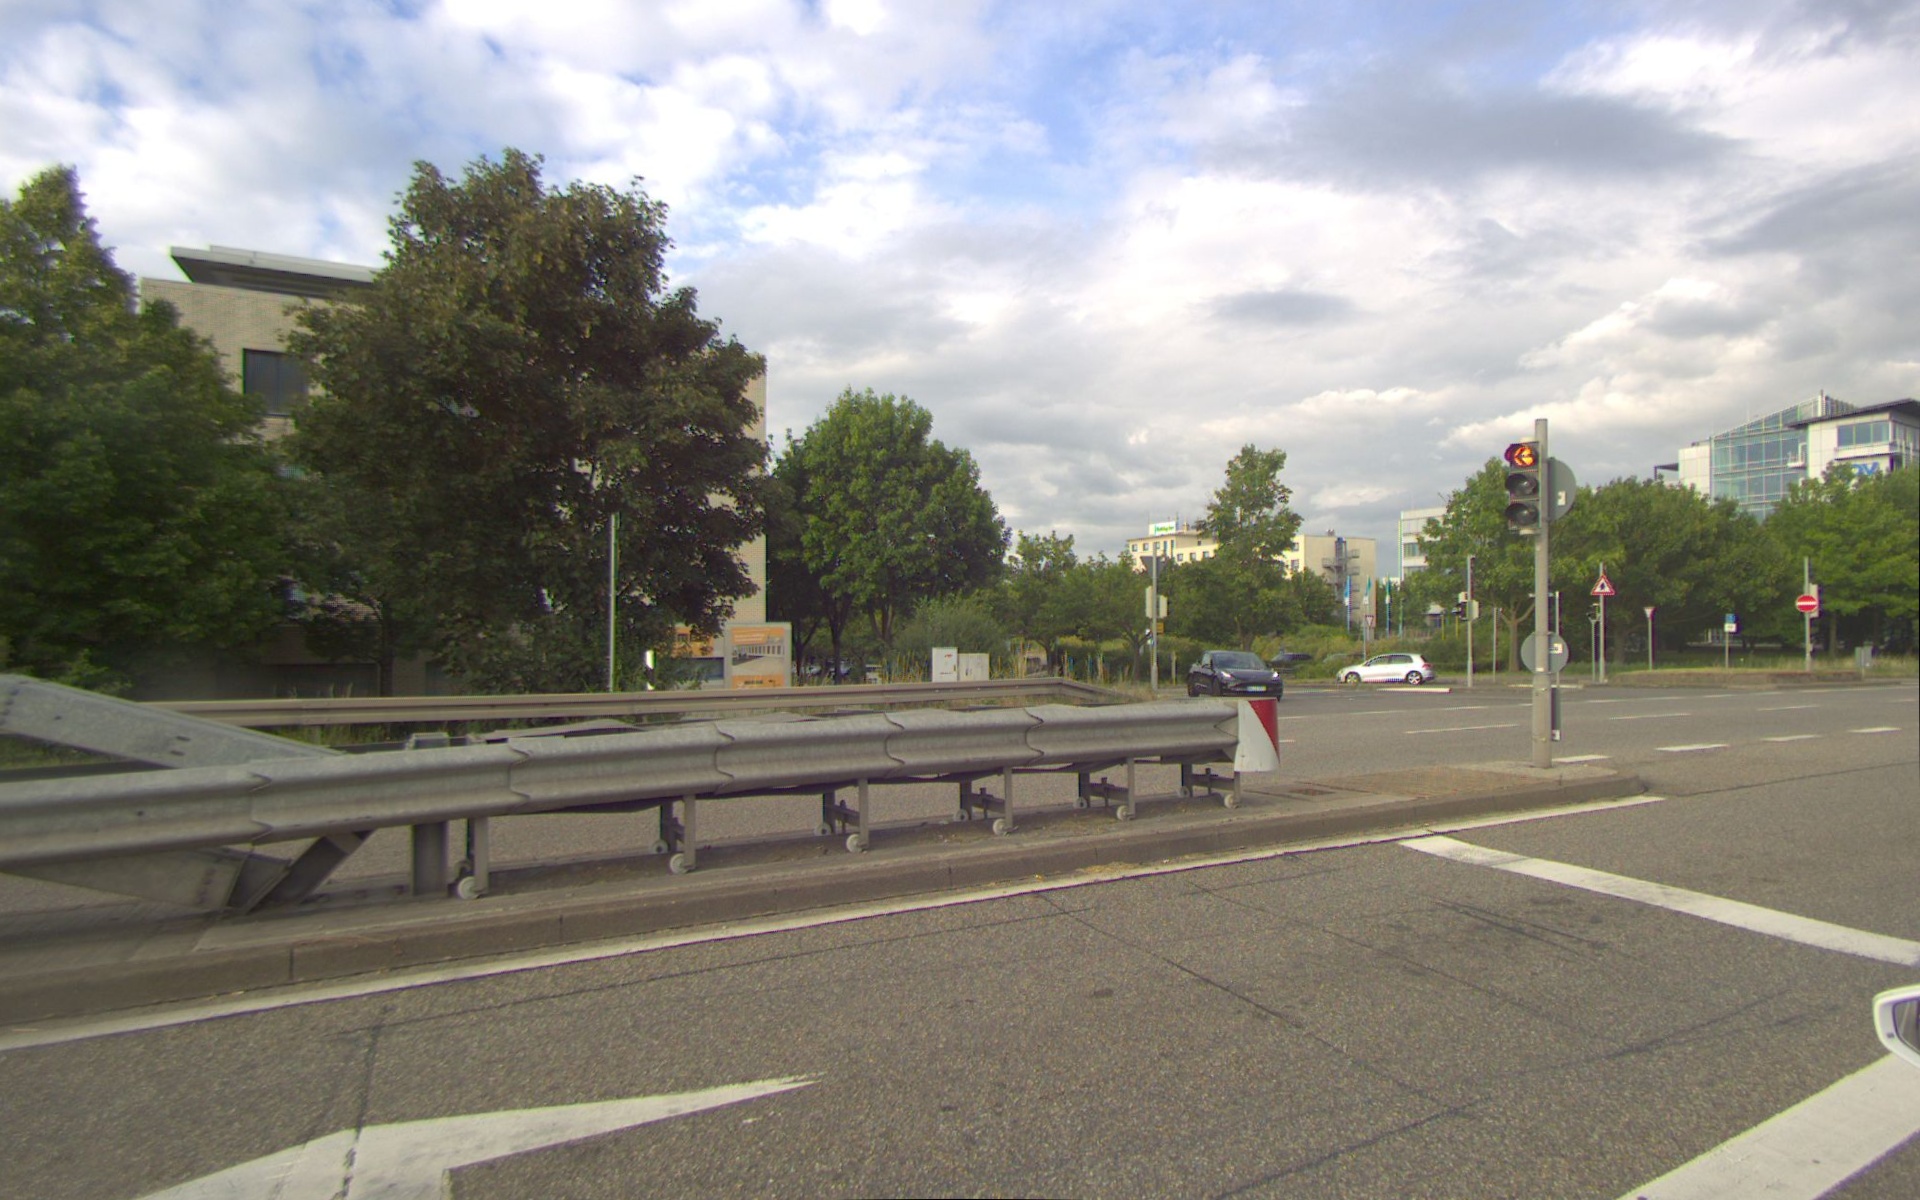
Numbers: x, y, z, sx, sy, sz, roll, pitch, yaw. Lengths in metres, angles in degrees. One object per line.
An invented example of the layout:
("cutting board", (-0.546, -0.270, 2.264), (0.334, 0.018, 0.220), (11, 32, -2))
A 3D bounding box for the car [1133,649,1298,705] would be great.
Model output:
("car", (7.186, 2.185, 28.633), (1.904, 1.475, 4.328), (4, -5, -37))

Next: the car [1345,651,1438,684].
("car", (19.608, 3.081, 45.690), (3.685, 1.359, 1.584), (-4, -5, 30))
